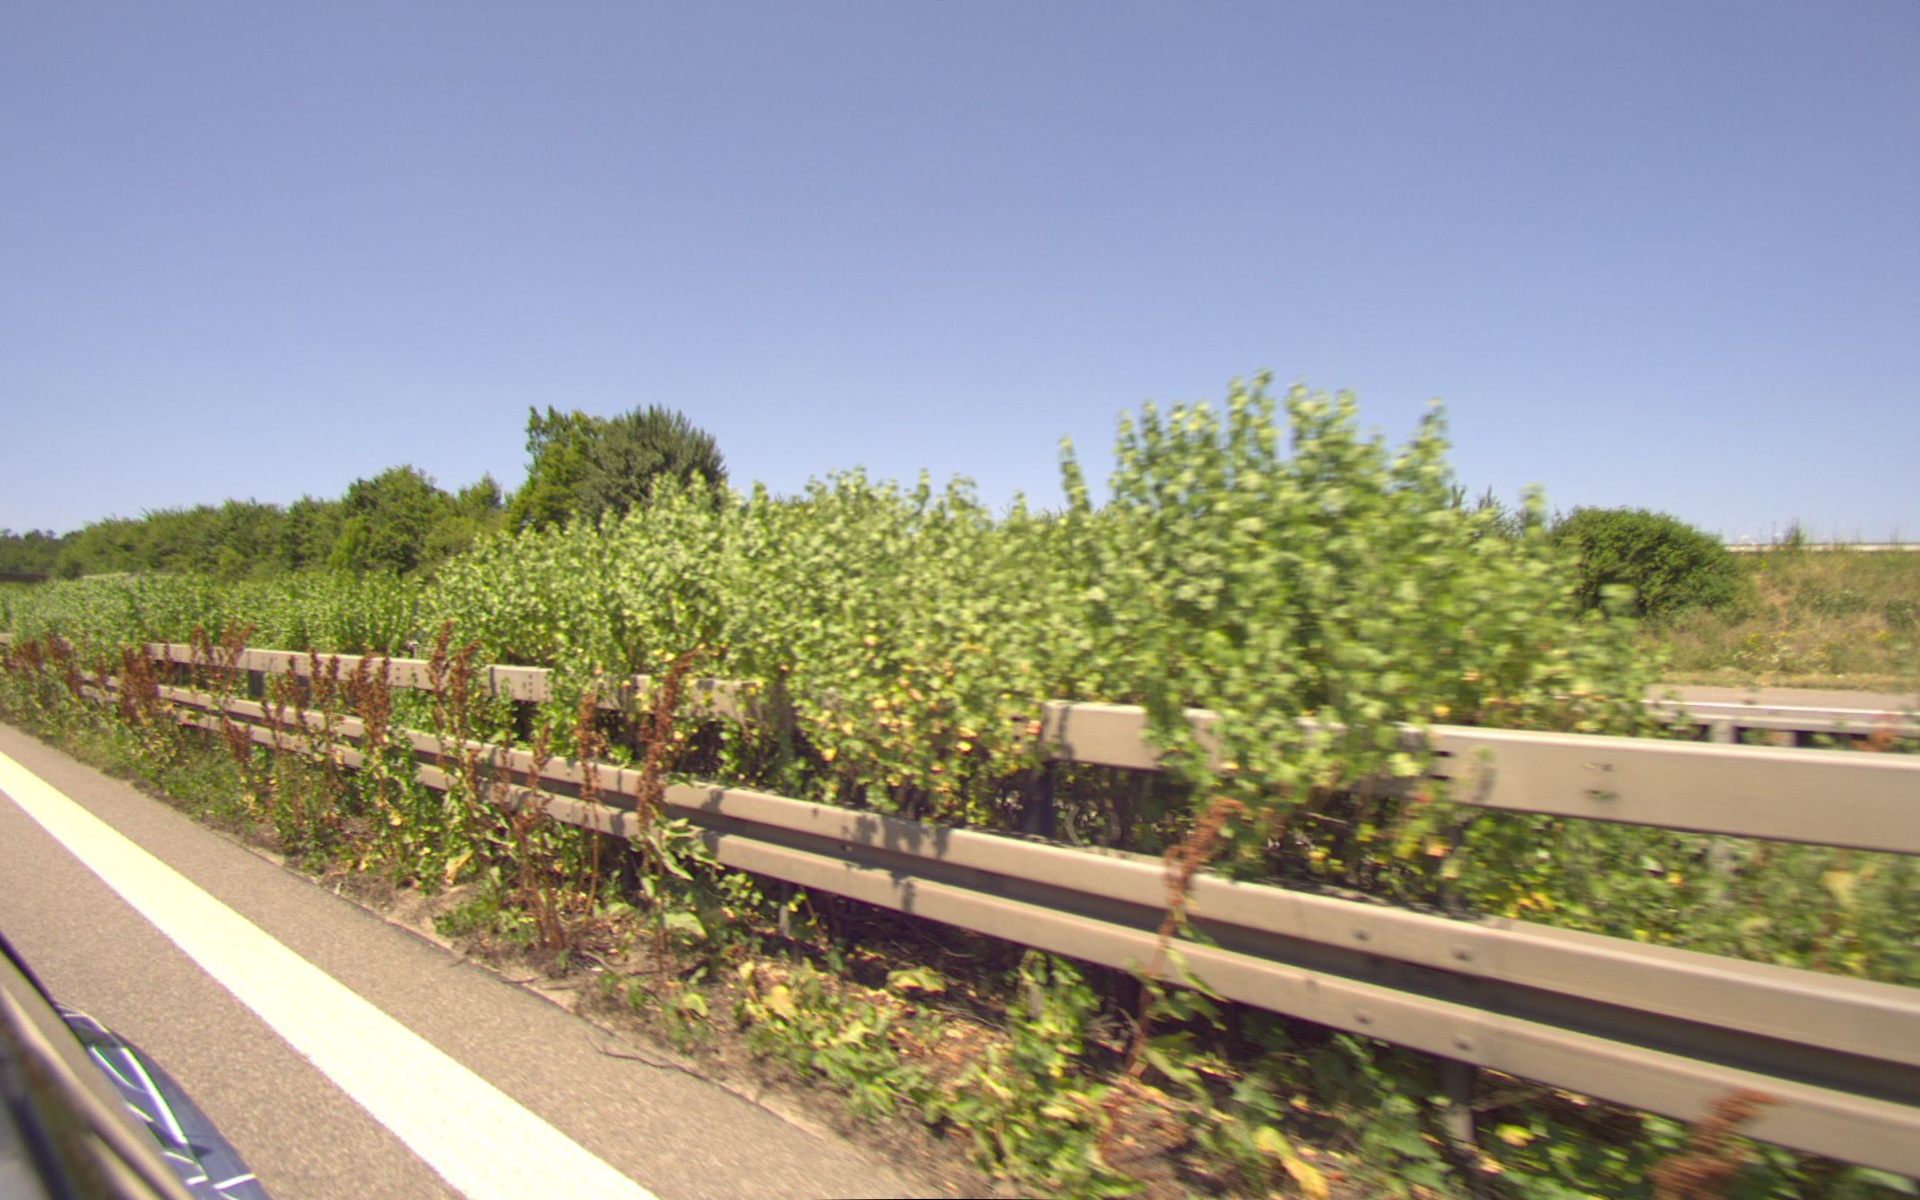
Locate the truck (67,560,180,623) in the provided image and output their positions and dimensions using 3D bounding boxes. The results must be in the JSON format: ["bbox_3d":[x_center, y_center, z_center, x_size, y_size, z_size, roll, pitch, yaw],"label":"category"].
[{"bbox_3d":[-59.175,-0.451,71.319,16.810,4.044,2.946,-1,0,39],"label":"truck"}]
